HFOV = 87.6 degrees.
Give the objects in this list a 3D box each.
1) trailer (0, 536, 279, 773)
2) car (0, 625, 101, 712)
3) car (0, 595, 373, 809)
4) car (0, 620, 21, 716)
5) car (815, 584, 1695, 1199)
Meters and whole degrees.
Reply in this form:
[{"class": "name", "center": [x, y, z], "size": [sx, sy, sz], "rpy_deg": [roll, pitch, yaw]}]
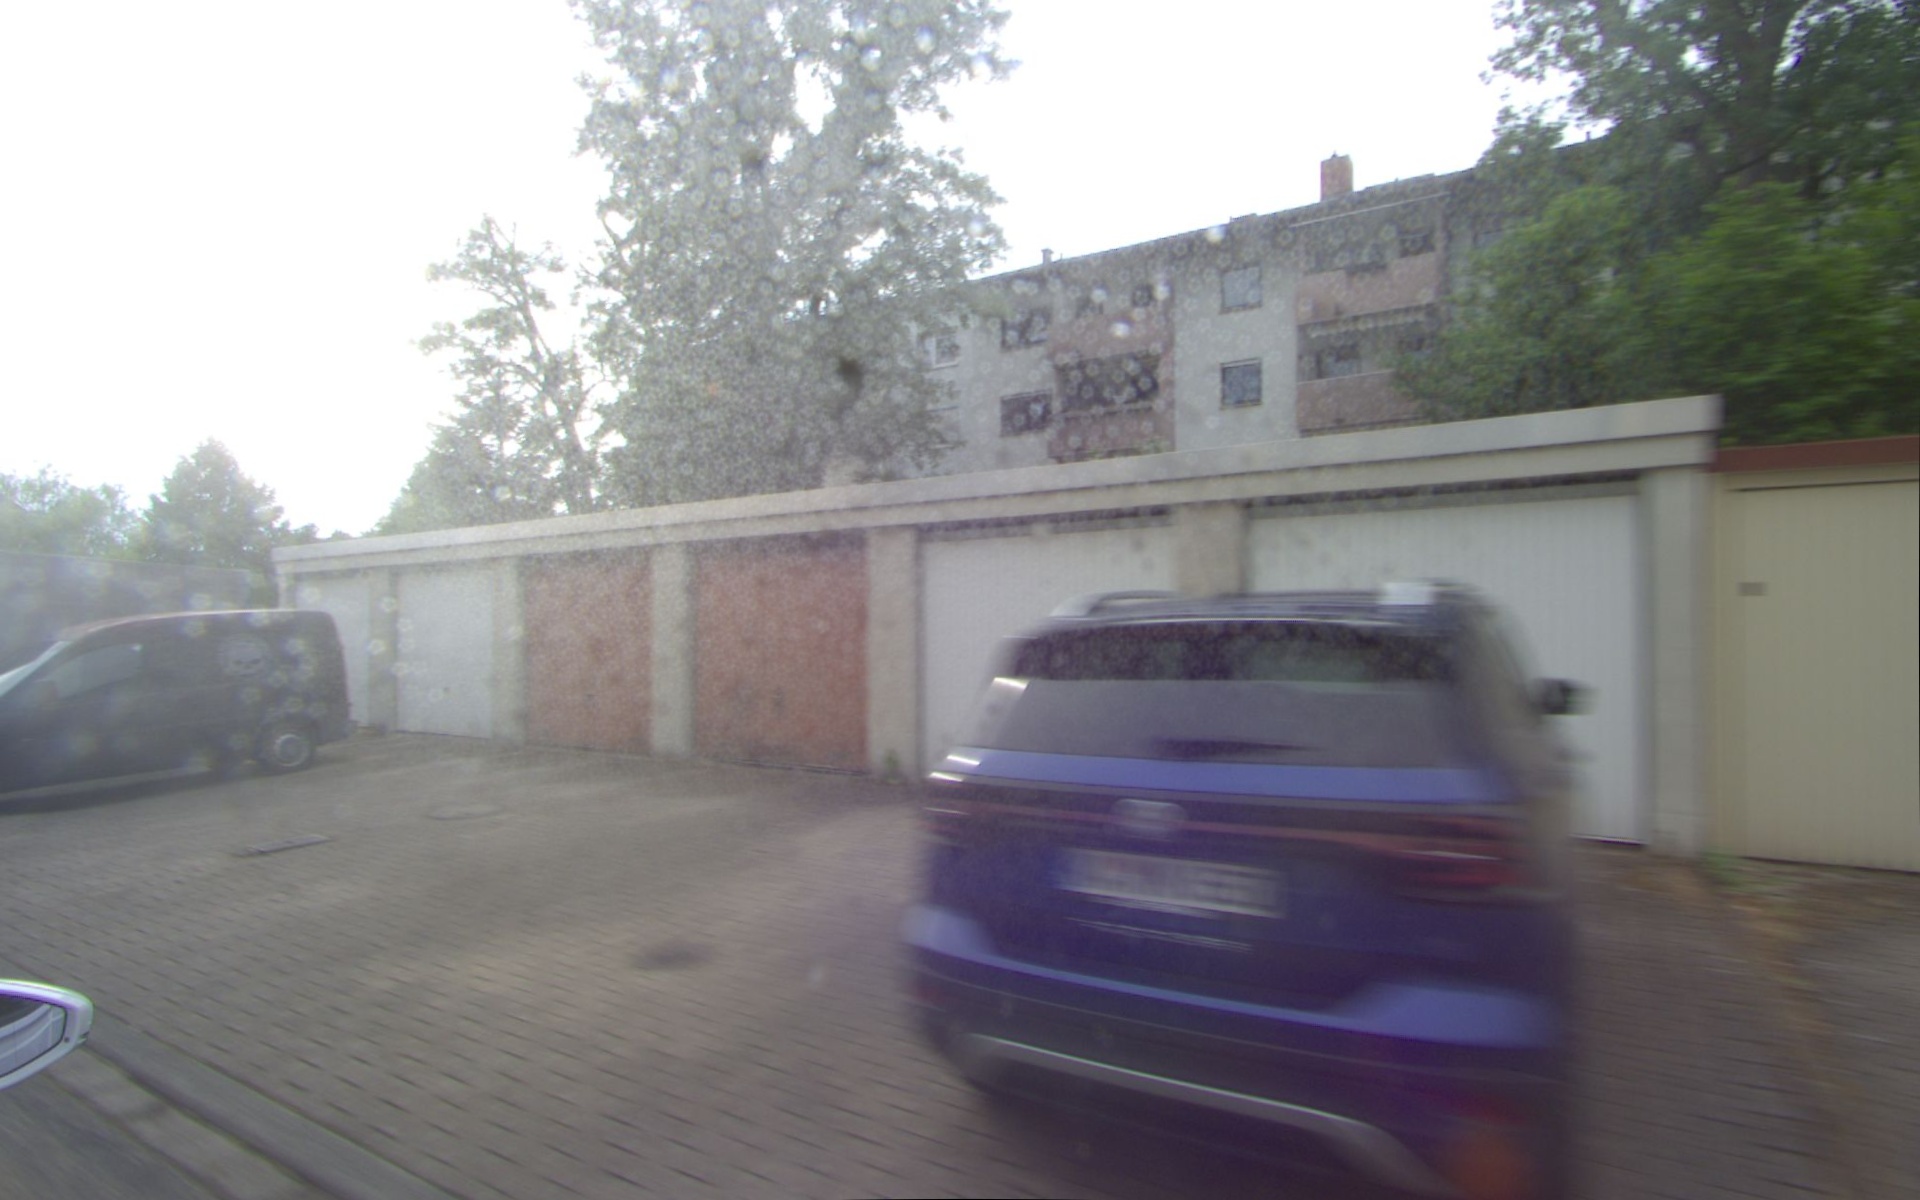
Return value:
[{"class": "trailer", "center": [-10.918, 0.614, 11.616], "size": [1.915, 2.557, 4.602], "rpy_deg": [-1, -2, 33]}, {"class": "car", "center": [-18.957, 1.250, 18.355], "size": [1.961, 1.609, 4.527], "rpy_deg": [-1, -2, 34]}, {"class": "car", "center": [-8.629, 0.893, 10.043], "size": [1.971, 1.826, 4.302], "rpy_deg": [0, 0, 32]}, {"class": "car", "center": [-17.234, 1.141, 15.128], "size": [1.964, 1.572, 3.994], "rpy_deg": [-1, 0, 17]}, {"class": "car", "center": [1.479, 0.827, 3.964], "size": [1.971, 1.726, 3.979], "rpy_deg": [0, 0, 32]}]
